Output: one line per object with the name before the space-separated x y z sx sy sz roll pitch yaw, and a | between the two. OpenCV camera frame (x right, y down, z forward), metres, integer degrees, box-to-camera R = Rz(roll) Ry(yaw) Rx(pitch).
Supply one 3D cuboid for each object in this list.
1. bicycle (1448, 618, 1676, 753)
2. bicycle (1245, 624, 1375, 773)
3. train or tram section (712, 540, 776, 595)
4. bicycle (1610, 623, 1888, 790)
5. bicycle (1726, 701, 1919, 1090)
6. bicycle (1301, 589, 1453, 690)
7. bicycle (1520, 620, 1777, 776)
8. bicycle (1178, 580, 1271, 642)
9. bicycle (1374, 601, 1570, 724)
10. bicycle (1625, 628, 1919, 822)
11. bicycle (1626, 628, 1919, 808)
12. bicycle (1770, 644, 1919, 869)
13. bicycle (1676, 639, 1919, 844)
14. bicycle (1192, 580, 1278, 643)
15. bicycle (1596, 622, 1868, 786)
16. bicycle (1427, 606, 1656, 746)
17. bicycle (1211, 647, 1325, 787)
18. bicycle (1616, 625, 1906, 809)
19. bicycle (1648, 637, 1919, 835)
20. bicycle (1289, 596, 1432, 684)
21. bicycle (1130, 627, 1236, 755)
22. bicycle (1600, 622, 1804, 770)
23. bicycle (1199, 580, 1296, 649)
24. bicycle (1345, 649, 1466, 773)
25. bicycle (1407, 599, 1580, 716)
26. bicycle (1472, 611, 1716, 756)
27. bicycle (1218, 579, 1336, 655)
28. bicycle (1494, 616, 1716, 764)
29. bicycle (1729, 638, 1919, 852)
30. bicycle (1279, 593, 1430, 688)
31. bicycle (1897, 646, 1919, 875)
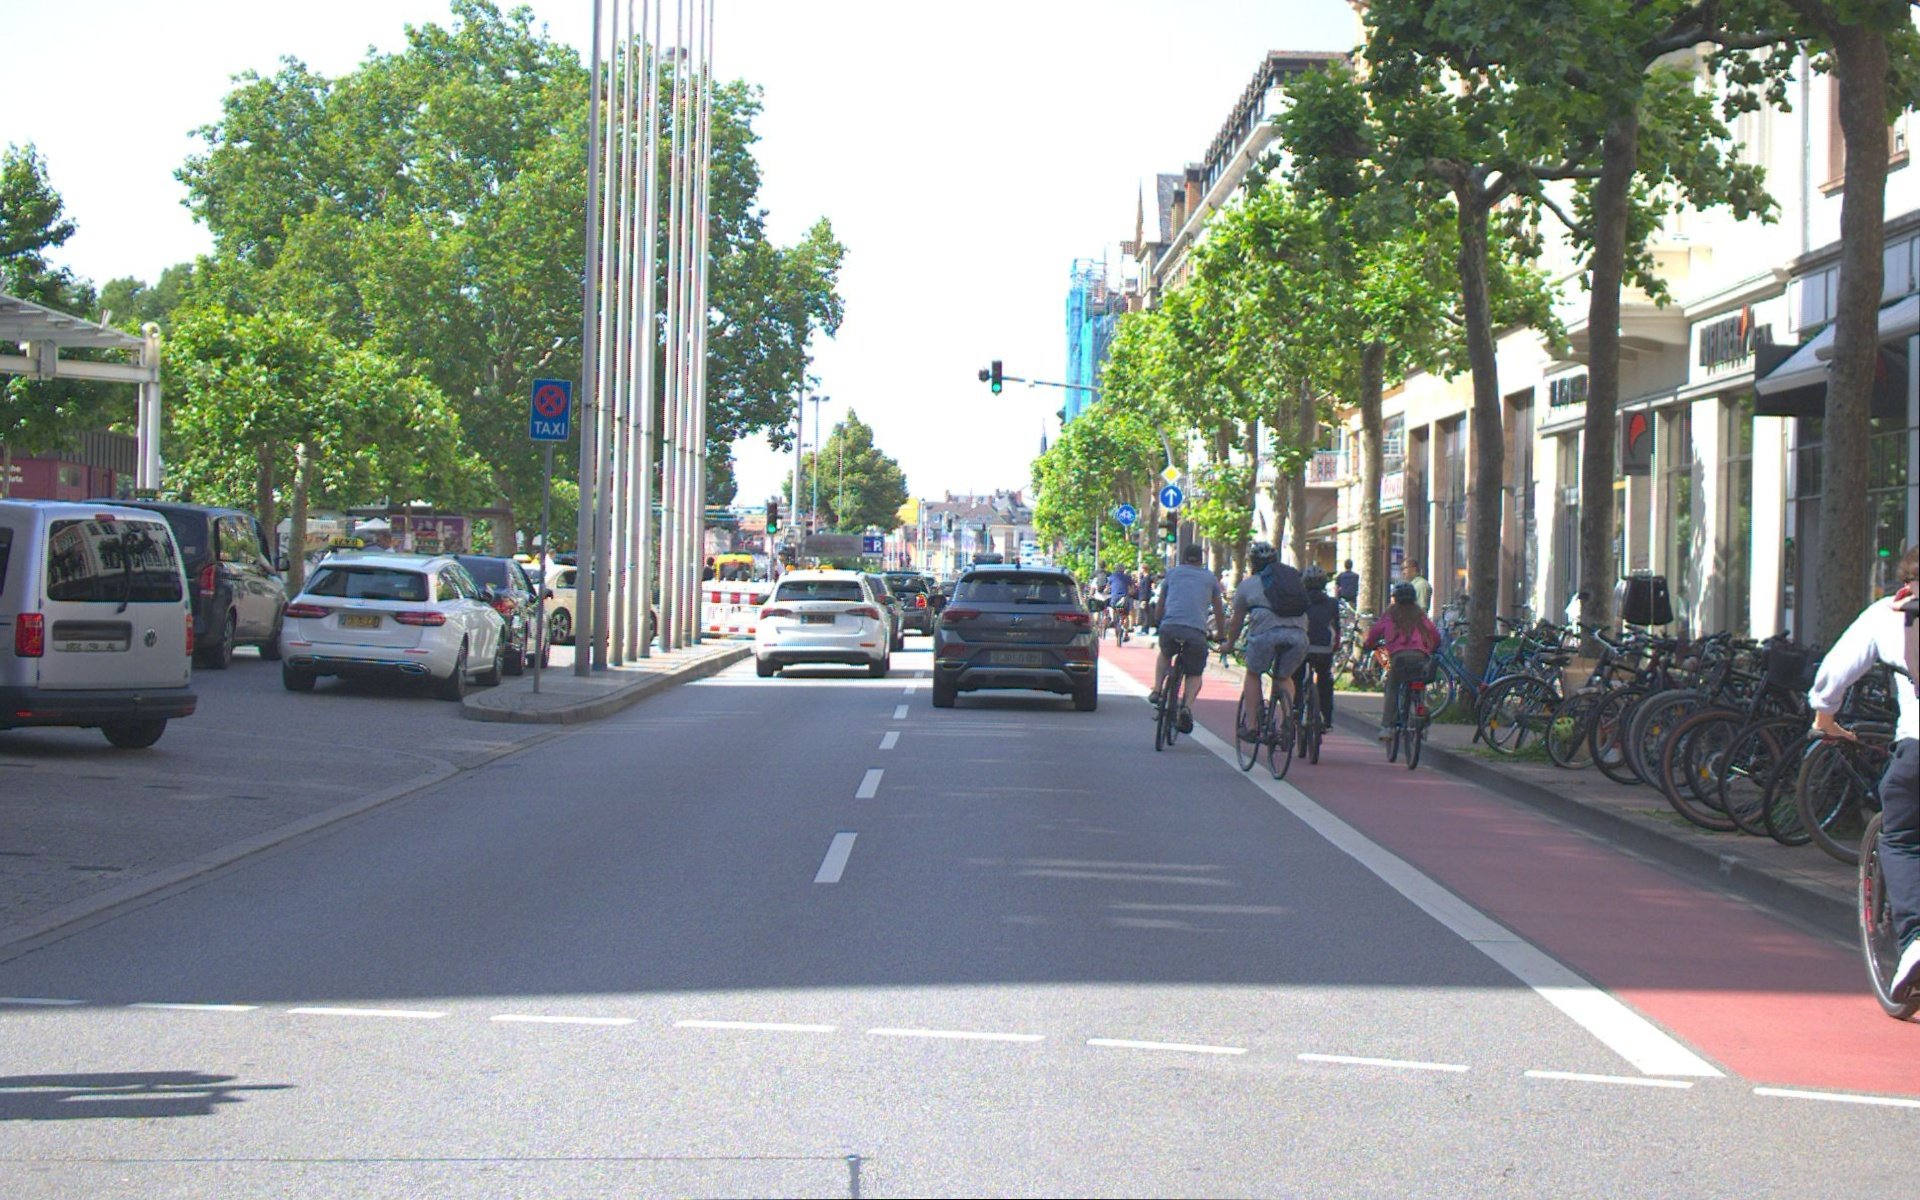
bicycle | 5.257 0.744 30.037 1.839 1.089 0.565 3 0 -10
bicycle | 2.890 0.797 28.586 0.698 1.123 2.082 3 0 -3
train or tram section | -13.719 -2.077 219.124 2.613 3.337 11.000 2 0 4
bicycle | 5.538 0.743 24.175 1.840 1.123 0.448 1 -1 3
bicycle | 3.265 0.960 11.687 0.698 1.123 2.082 3 0 -3
bicycle | 5.220 0.490 43.016 1.840 1.193 0.673 2 0 8
bicycle | 5.186 0.729 25.939 1.843 1.123 0.447 1 -1 28
bicycle | 5.396 0.218 70.144 1.844 1.197 0.608 2 0 3
bicycle | 5.207 0.637 34.991 1.839 1.123 0.497 3 2 -7
bicycle | 5.099 0.764 21.271 1.840 1.123 0.679 1 0 4
bicycle | 5.421 0.766 22.662 1.987 1.123 0.761 1 -1 13
bicycle | 5.168 0.806 17.690 1.840 1.123 0.643 1 0 2
bicycle | 5.065 0.800 19.551 1.840 1.123 0.666 1 0 2
bicycle | 5.464 0.228 68.418 1.649 1.197 0.474 2 0 3
bicycle | 5.521 0.739 24.635 1.840 1.123 0.448 1 -1 3
bicycle | 5.159 0.676 30.537 1.839 1.123 0.632 4 0 -10
bicycle | 2.300 0.860 25.891 0.630 0.977 2.089 1 0 -1
bicycle | 5.436 0.785 23.376 1.841 1.123 0.530 3 0 13
bicycle | 5.030 0.796 20.246 1.840 1.123 0.530 1 -1 2
bicycle | 5.315 0.522 45.737 1.840 1.093 0.794 2 0 6
bicycle | 1.922 0.771 29.904 0.774 1.002 2.329 1 1 0
bicycle | 5.816 0.749 26.911 1.840 1.123 0.448 1 -1 -37
bicycle | 5.276 0.264 63.198 1.728 1.213 0.477 2 0 3
bicycle | 3.666 0.902 28.411 0.600 0.922 2.088 2 0 -3
bicycle | 5.690 0.619 36.651 1.774 1.193 0.578 2 0 -27
bicycle | 5.395 0.711 29.294 1.839 1.123 0.766 4 -1 -12
bicycle | 5.428 0.287 58.943 1.931 1.244 0.736 2 0 3
bicycle | 5.070 0.707 26.969 1.840 1.123 0.594 1 -1 -35
bicycle | 5.190 0.789 18.737 1.840 1.123 0.666 1 0 2
bicycle | 5.056 0.518 44.085 1.841 1.123 0.497 3 0 11
bicycle | 5.669 0.812 17.080 1.840 1.123 0.666 1 0 2
